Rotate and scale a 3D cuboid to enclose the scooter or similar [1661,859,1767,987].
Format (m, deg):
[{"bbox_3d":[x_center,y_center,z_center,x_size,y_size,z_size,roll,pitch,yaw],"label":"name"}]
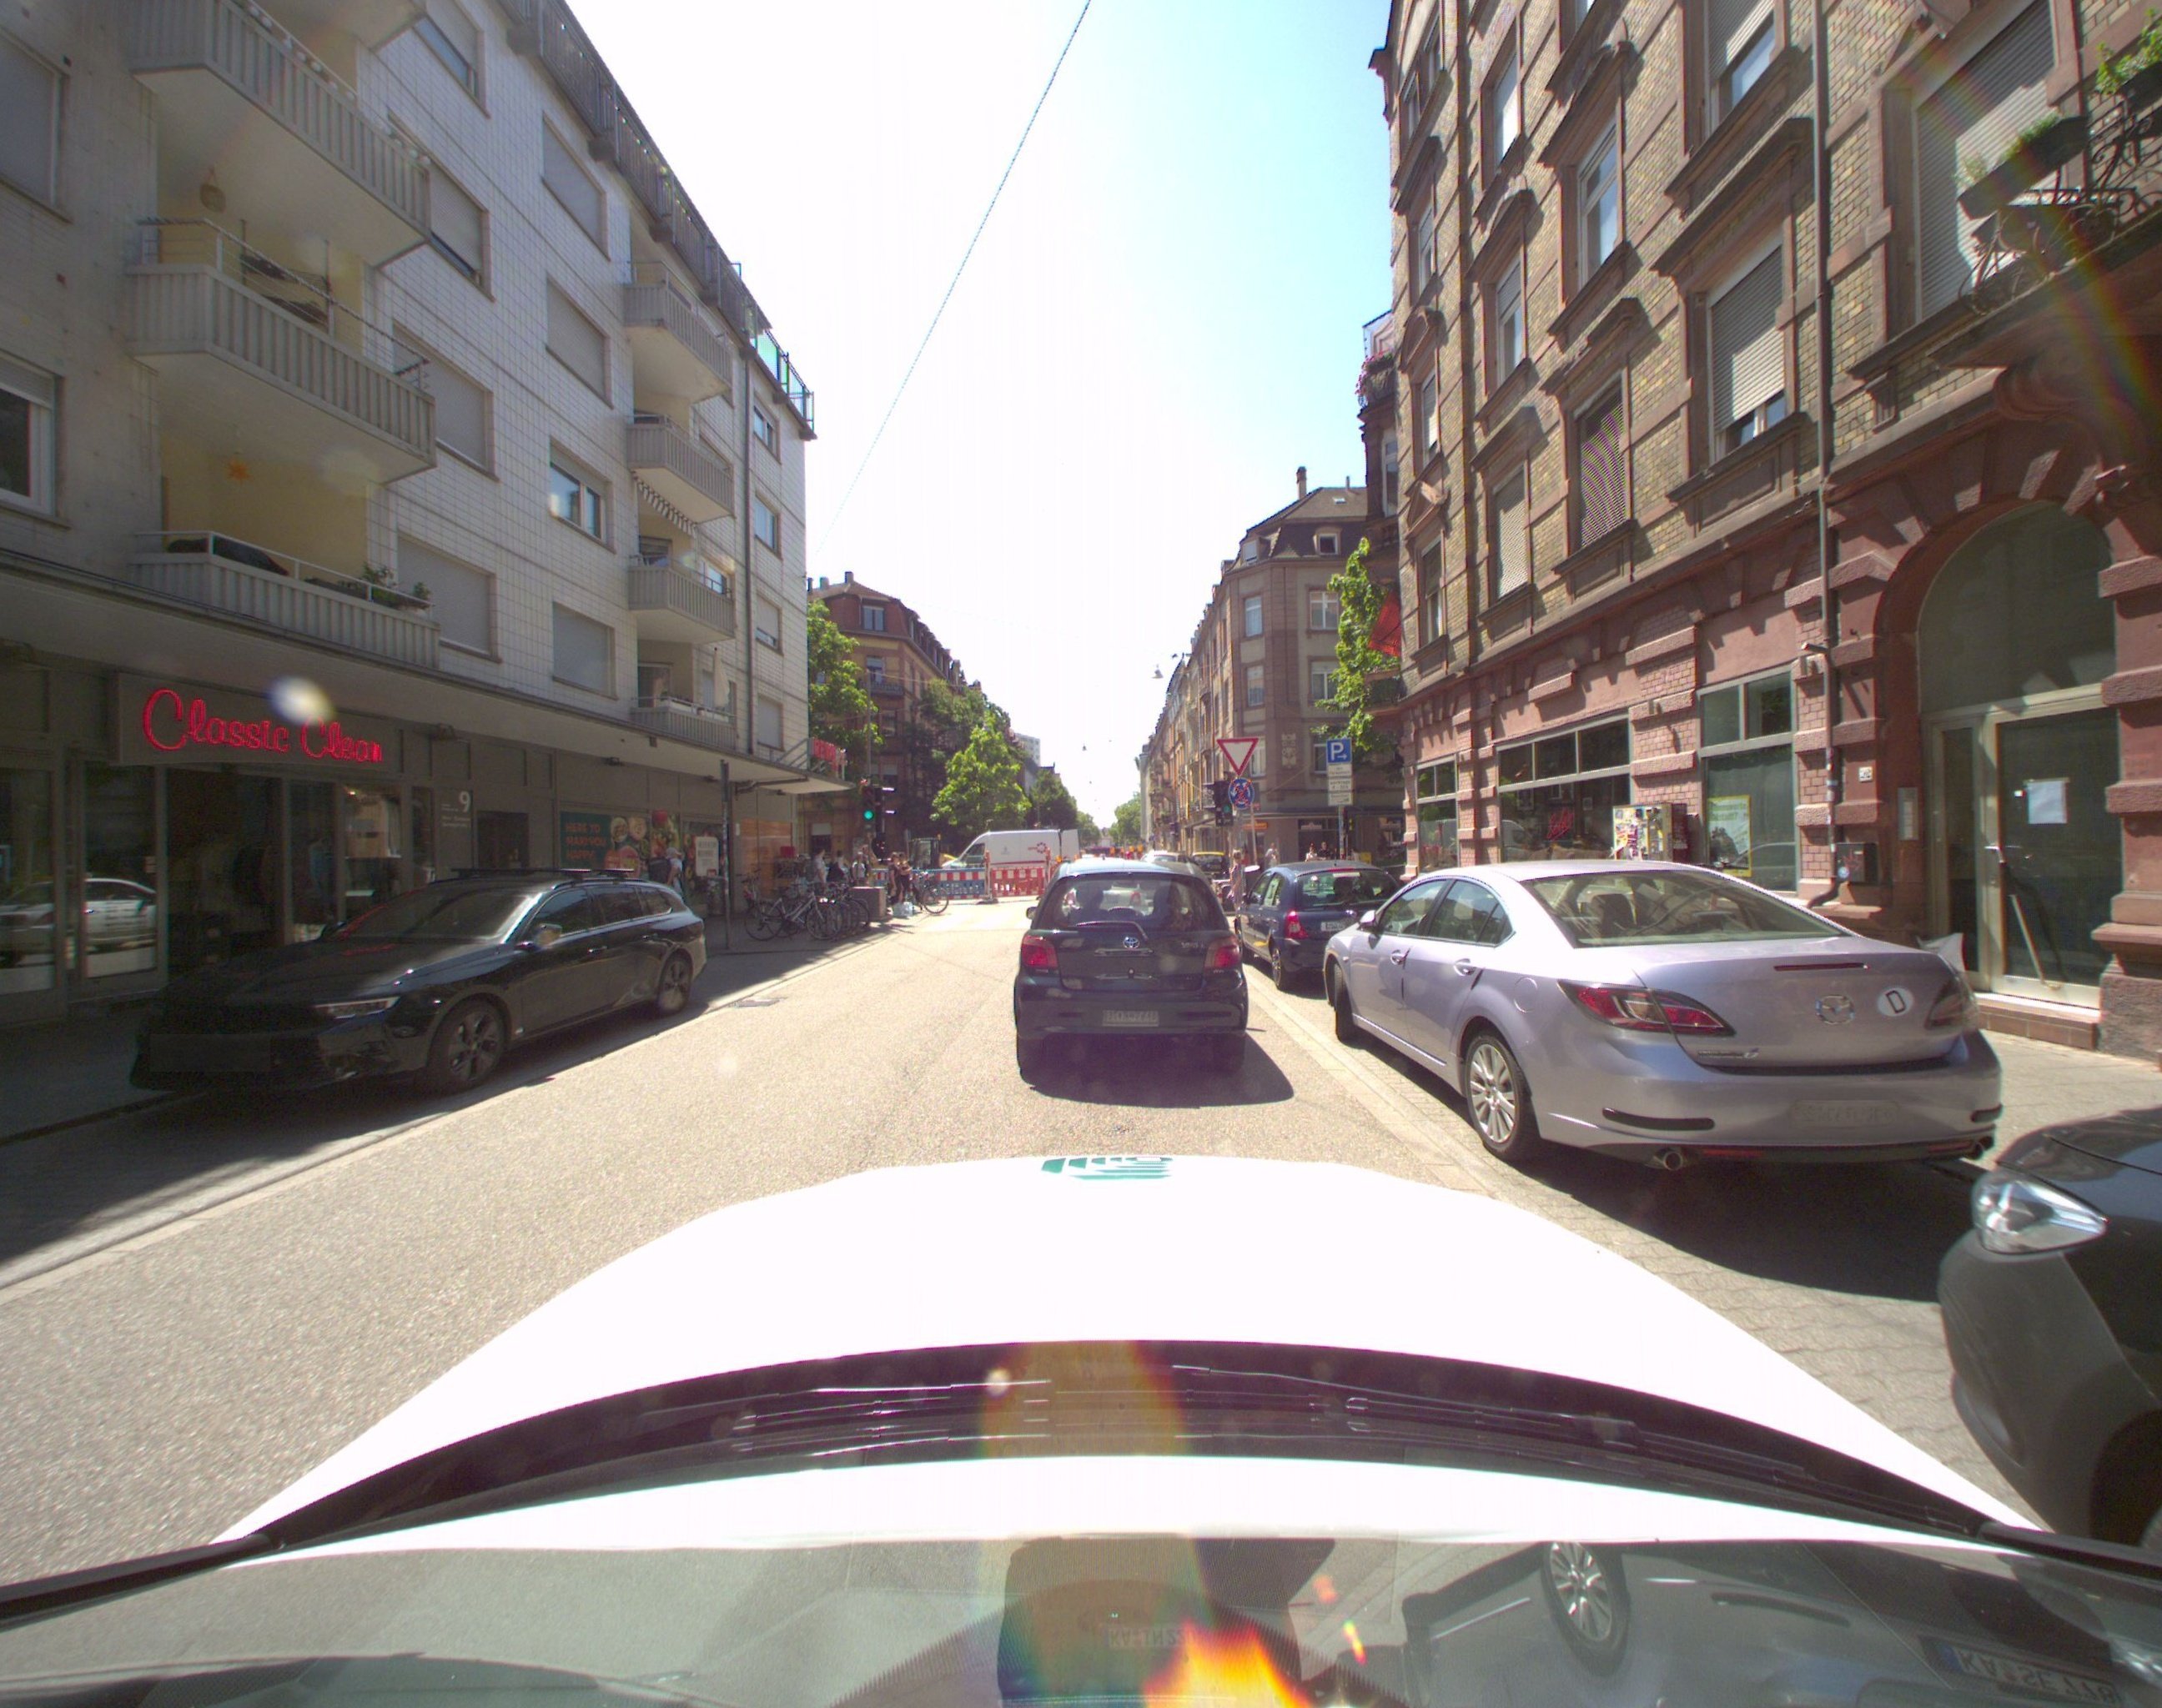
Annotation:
[{"bbox_3d":[6.322,0.642,8.188,0.290,1.177,1.276,-1,0,11],"label":"scooter or similar"}]

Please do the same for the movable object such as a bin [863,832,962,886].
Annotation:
[{"bbox_3d":[-8.583,0.241,41.722,4.524,2.659,1.956,0,0,3],"label":"movable object such as a bin"}]

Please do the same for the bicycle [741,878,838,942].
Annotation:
[{"bbox_3d":[-5.397,1.033,15.137,1.580,1.139,0.526,1,0,-3],"label":"bicycle"}]

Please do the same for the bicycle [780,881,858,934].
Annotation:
[{"bbox_3d":[-5.299,1.075,16.510,1.444,1.036,0.335,1,0,-3],"label":"bicycle"}]

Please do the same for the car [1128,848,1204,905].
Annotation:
[{"bbox_3d":[2.628,0.642,24.701,1.510,1.592,3.280,-1,0,20],"label":"car"}]

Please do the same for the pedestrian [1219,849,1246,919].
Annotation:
[{"bbox_3d":[3.414,0.673,18.340,0.490,1.543,0.437,-3,-1,7],"label":"pedestrian"}]

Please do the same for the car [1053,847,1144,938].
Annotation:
[{"bbox_3d":[0.345,0.655,15.564,1.517,1.521,3.265,-1,0,1],"label":"car"}]

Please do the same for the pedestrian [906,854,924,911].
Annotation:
[{"bbox_3d":[-4.815,0.819,23.633,0.388,1.618,0.475,-1,0,-1],"label":"pedestrian"}]

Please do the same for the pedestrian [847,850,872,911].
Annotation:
[{"bbox_3d":[-6.045,0.726,22.247,0.507,1.633,0.599,-1,0,-1],"label":"pedestrian"}]

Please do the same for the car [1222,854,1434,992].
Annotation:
[{"bbox_3d":[2.995,0.750,10.642,1.622,1.432,3.660,-2,0,0],"label":"car"}]

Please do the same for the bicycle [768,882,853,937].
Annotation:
[{"bbox_3d":[-5.271,1.086,15.916,1.490,1.030,0.397,1,0,-3],"label":"bicycle"}]

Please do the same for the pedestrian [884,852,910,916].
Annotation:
[{"bbox_3d":[-4.796,0.765,21.244,0.539,1.633,0.511,-1,0,-1],"label":"pedestrian"}]

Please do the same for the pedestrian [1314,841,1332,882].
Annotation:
[{"bbox_3d":[10.552,0.321,35.521,0.574,1.768,0.470,-4,3,-7],"label":"pedestrian"}]

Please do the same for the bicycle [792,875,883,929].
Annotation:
[{"bbox_3d":[-5.292,1.034,17.792,1.794,1.123,0.577,1,-1,-5],"label":"bicycle"}]

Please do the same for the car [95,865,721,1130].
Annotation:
[{"bbox_3d":[-5.066,0.895,7.163,1.663,1.525,4.466,0,0,2],"label":"car"}]

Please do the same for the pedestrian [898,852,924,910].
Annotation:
[{"bbox_3d":[-4.671,0.731,22.379,0.491,1.565,0.462,1,0,28],"label":"pedestrian"}]

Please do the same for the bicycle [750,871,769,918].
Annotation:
[{"bbox_3d":[-8.078,1.002,20.467,0.321,1.086,1.424,0,1,-17],"label":"bicycle"}]

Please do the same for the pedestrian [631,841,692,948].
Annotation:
[{"bbox_3d":[-6.993,0.660,13.599,0.628,1.727,0.658,-1,0,2],"label":"pedestrian"}]

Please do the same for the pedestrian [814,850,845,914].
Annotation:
[{"bbox_3d":[-7.218,0.786,23.402,0.528,1.797,0.938,-1,0,2],"label":"pedestrian"}]

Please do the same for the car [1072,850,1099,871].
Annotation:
[{"bbox_3d":[0.366,0.451,58.825,1.748,1.444,4.002,-2,0,2],"label":"car"}]

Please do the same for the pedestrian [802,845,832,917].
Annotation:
[{"bbox_3d":[-6.546,0.661,20.218,0.507,1.770,0.599,-1,0,-1],"label":"pedestrian"}]

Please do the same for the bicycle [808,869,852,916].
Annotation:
[{"bbox_3d":[-7.197,1.068,23.438,0.533,1.247,2.013,-1,0,2],"label":"bicycle"}]

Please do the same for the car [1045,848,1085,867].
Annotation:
[{"bbox_3d":[-1.992,0.418,100.651,4.581,2.187,1.983,-1,0,-26],"label":"car"}]

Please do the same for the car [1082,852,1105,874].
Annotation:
[{"bbox_3d":[1.109,0.764,68.432,1.748,1.645,4.380,-4,0,2],"label":"car"}]

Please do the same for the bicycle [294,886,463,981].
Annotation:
[{"bbox_3d":[-8.674,0.959,10.104,1.572,1.072,0.341,-1,0,-16],"label":"bicycle"}]

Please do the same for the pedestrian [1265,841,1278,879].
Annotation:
[{"bbox_3d":[8.833,0.270,37.752,0.473,1.733,0.876,-1,-2,21],"label":"pedestrian"}]

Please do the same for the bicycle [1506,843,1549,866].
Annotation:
[{"bbox_3d":[20.688,0.002,37.727,1.719,0.996,0.504,-1,2,-3],"label":"bicycle"}]

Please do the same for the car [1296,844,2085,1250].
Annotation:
[{"bbox_3d":[2.858,0.720,5.267,1.720,1.432,4.485,-2,0,0],"label":"car"}]

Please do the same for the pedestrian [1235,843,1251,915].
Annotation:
[{"bbox_3d":[3.787,0.581,19.051,0.330,1.675,0.402,-1,0,8],"label":"pedestrian"}]

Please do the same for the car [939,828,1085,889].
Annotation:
[{"bbox_3d":[-3.195,0.195,38.823,6.594,2.751,2.381,0,0,2],"label":"car"}]

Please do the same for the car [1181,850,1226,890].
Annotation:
[{"bbox_3d":[4.869,0.595,32.391,1.618,1.432,3.669,-2,0,8],"label":"car"}]

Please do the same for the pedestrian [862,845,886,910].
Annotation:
[{"bbox_3d":[-5.935,0.668,23.350,0.507,1.820,0.599,-1,0,-1],"label":"pedestrian"}]

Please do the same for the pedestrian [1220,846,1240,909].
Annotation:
[{"bbox_3d":[3.809,0.595,20.818,0.457,1.560,0.480,-1,0,8],"label":"pedestrian"}]

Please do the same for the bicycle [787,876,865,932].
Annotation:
[{"bbox_3d":[-5.342,1.047,17.093,1.515,1.117,0.335,1,0,-3],"label":"bicycle"}]

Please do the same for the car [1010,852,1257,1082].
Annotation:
[{"bbox_3d":[0.488,0.743,6.949,1.606,1.485,3.245,0,0,5],"label":"car"}]

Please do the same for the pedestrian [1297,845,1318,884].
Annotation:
[{"bbox_3d":[9.837,0.438,35.358,0.701,1.645,0.422,-4,3,-7],"label":"pedestrian"}]

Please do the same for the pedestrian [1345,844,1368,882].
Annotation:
[{"bbox_3d":[11.990,0.406,35.431,0.798,1.623,0.644,-1,0,4],"label":"pedestrian"}]

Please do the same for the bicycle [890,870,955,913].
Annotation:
[{"bbox_3d":[-4.388,1.019,22.534,1.789,1.119,0.470,0,0,23],"label":"bicycle"}]
